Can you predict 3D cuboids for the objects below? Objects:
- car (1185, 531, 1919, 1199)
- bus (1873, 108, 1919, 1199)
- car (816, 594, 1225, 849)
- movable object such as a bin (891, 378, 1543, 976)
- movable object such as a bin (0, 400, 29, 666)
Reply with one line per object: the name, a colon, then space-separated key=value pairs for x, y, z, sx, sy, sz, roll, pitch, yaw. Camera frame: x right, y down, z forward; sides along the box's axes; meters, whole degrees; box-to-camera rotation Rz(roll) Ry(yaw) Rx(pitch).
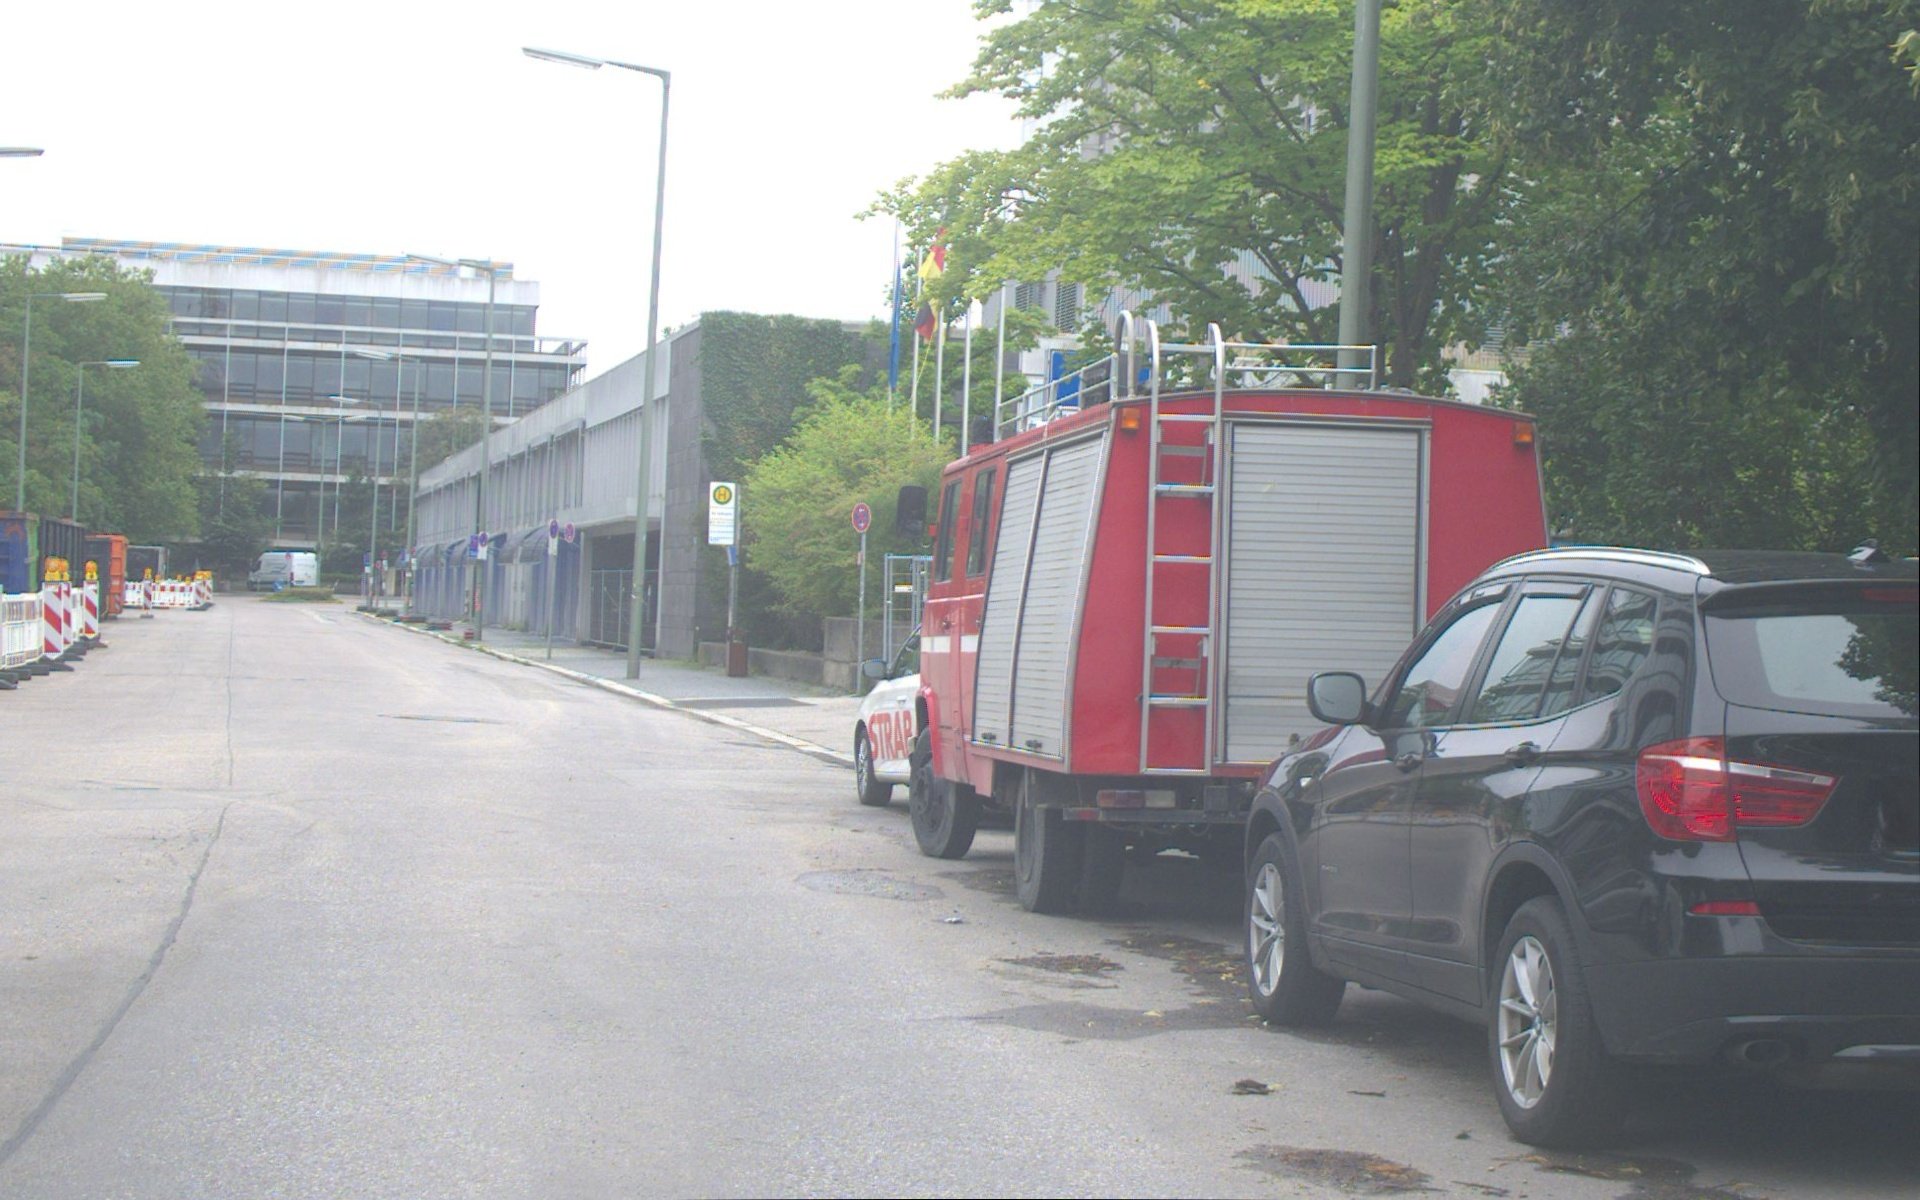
car: x=2.114 y=0.672 z=10.697 sx=1.775 sy=1.644 sz=4.461 roll=2 pitch=0 yaw=-10
bus: x=3.008 y=0.175 z=3.544 sx=2.315 sy=2.690 sz=5.735 roll=3 pitch=0 yaw=-2
car: x=0.316 y=0.787 z=24.200 sx=1.775 sy=1.544 sz=4.258 roll=2 pitch=0 yaw=-14
movable object such as a bin: x=1.042 y=0.317 z=17.659 sx=2.103 sy=2.450 sz=6.188 roll=3 pitch=0 yaw=-7
movable object such as a bin: x=-14.899 y=-0.961 z=47.248 sx=3.240 sy=3.704 sz=9.011 roll=2 pitch=1 yaw=-11
